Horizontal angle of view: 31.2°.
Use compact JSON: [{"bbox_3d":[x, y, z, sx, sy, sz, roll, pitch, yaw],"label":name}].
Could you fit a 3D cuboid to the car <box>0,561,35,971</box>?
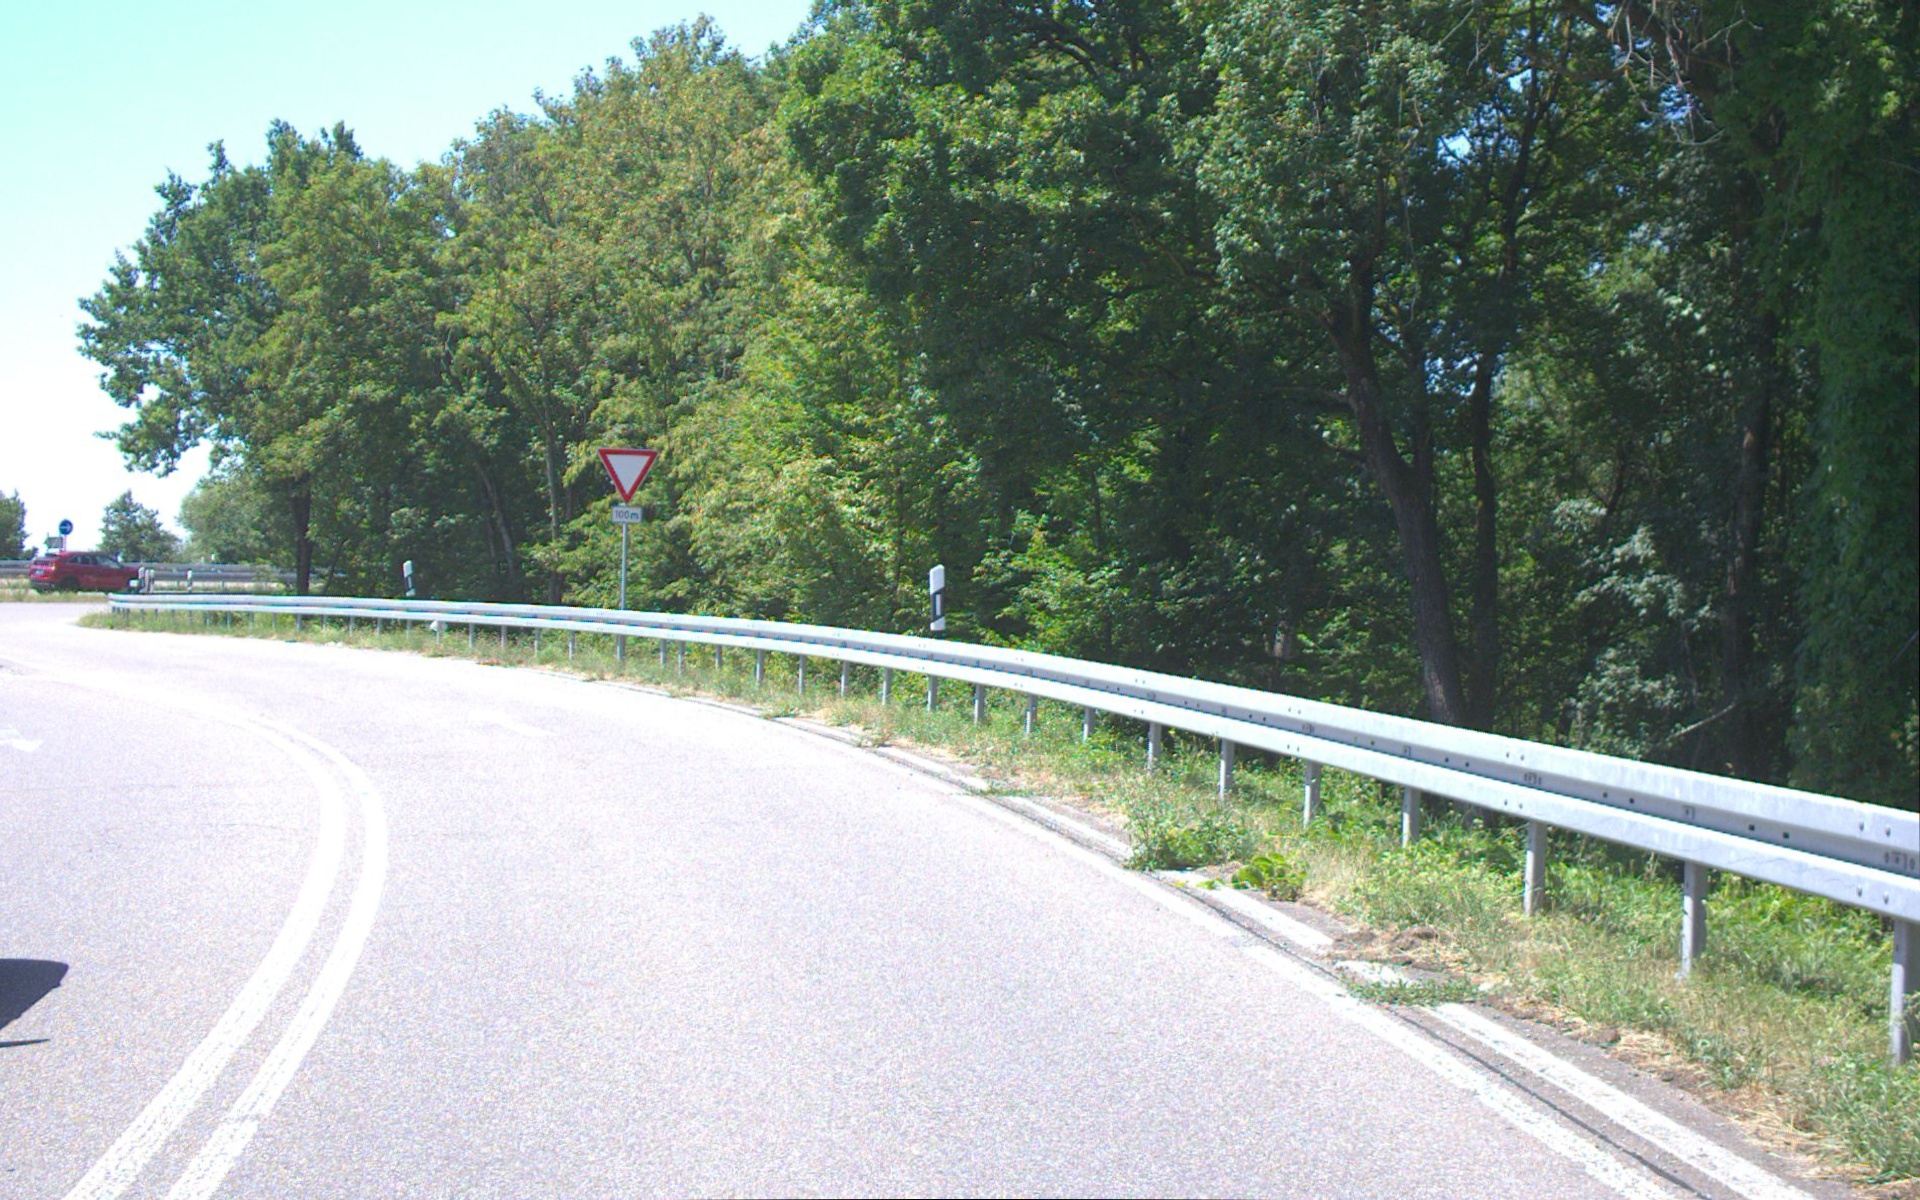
[{"bbox_3d":[-4.320,0.674,11.272,1.822,1.501,4.173,-2,1,-6],"label":"car"}]
